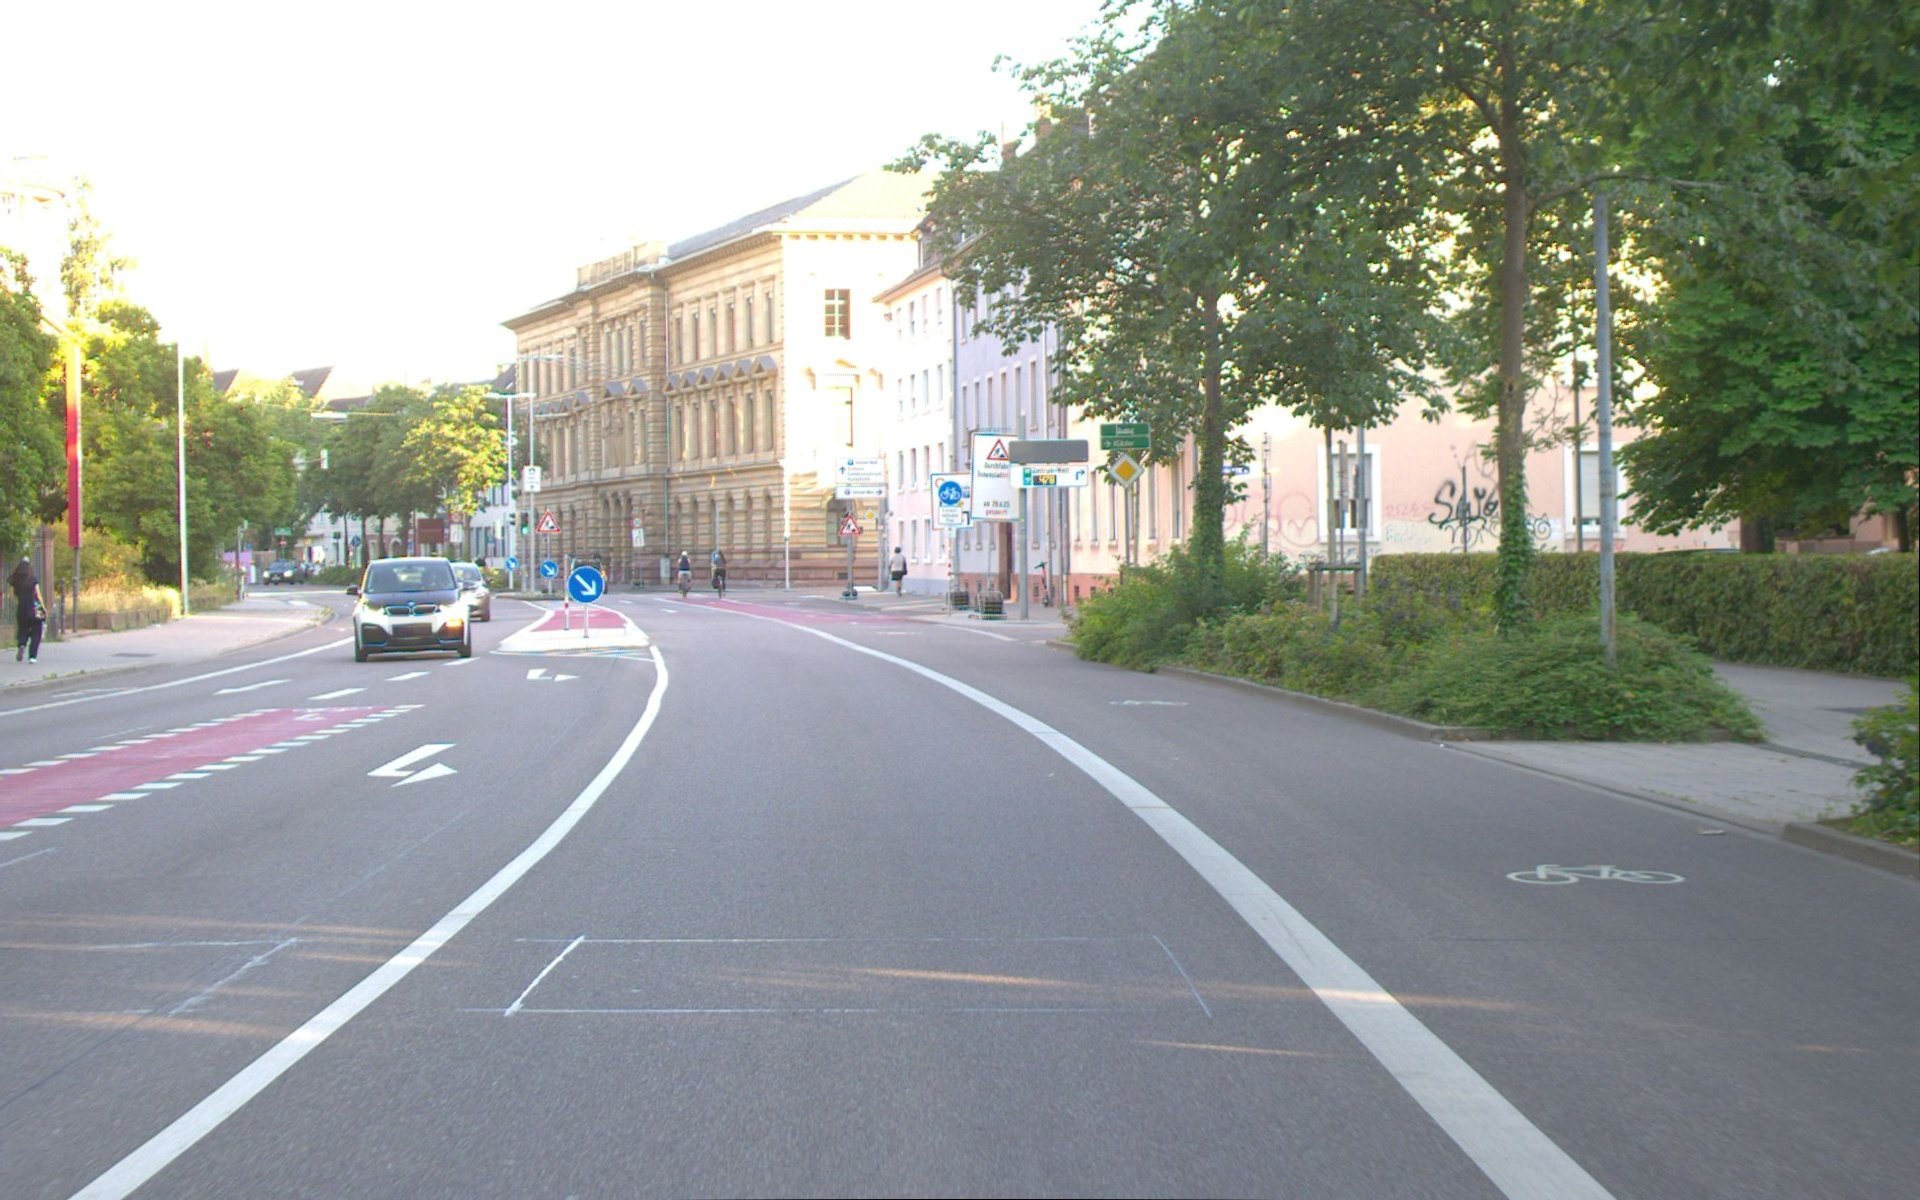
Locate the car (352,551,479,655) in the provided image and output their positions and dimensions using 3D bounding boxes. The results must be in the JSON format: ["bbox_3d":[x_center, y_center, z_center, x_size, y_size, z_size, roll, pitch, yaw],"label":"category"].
[{"bbox_3d":[-8.603,0.018,54.215,1.848,1.521,4.001,-2,1,-10],"label":"car"}]

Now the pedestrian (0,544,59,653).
[{"bbox_3d":[-14.037,-0.028,51.774,0.681,1.617,0.688,0,1,7],"label":"pedestrian"}]

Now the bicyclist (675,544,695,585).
[{"bbox_3d":[-9.951,-1.291,124.366,0.652,1.441,0.879,2,1,-5],"label":"bicyclist"}]

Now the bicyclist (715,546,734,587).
[{"bbox_3d":[-8.532,-1.222,124.590,0.652,1.470,0.941,2,1,-5],"label":"bicyclist"}]

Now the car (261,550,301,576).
[{"bbox_3d":[-40.921,-2.223,207.279,1.993,1.579,4.001,0,1,-5],"label":"car"}]

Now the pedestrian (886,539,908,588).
[{"bbox_3d":[-2.256,-1.307,122.663,0.762,1.749,0.845,0,0,0],"label":"pedestrian"}]

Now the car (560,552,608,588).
[{"bbox_3d":[-15.852,-1.255,144.801,1.867,1.505,4.001,0,0,-8],"label":"car"}]

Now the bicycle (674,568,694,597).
[{"bbox_3d":[-9.966,-0.639,124.254,0.652,1.012,2.198,2,1,-5],"label":"bicycle"}]

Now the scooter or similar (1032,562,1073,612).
[{"bbox_3d":[2.530,-0.369,94.034,0.629,1.332,2.401,0,1,-11],"label":"scooter or similar"}]

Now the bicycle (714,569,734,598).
[{"bbox_3d":[-8.558,-0.603,124.592,0.652,1.012,2.198,2,1,-5],"label":"bicycle"}]
